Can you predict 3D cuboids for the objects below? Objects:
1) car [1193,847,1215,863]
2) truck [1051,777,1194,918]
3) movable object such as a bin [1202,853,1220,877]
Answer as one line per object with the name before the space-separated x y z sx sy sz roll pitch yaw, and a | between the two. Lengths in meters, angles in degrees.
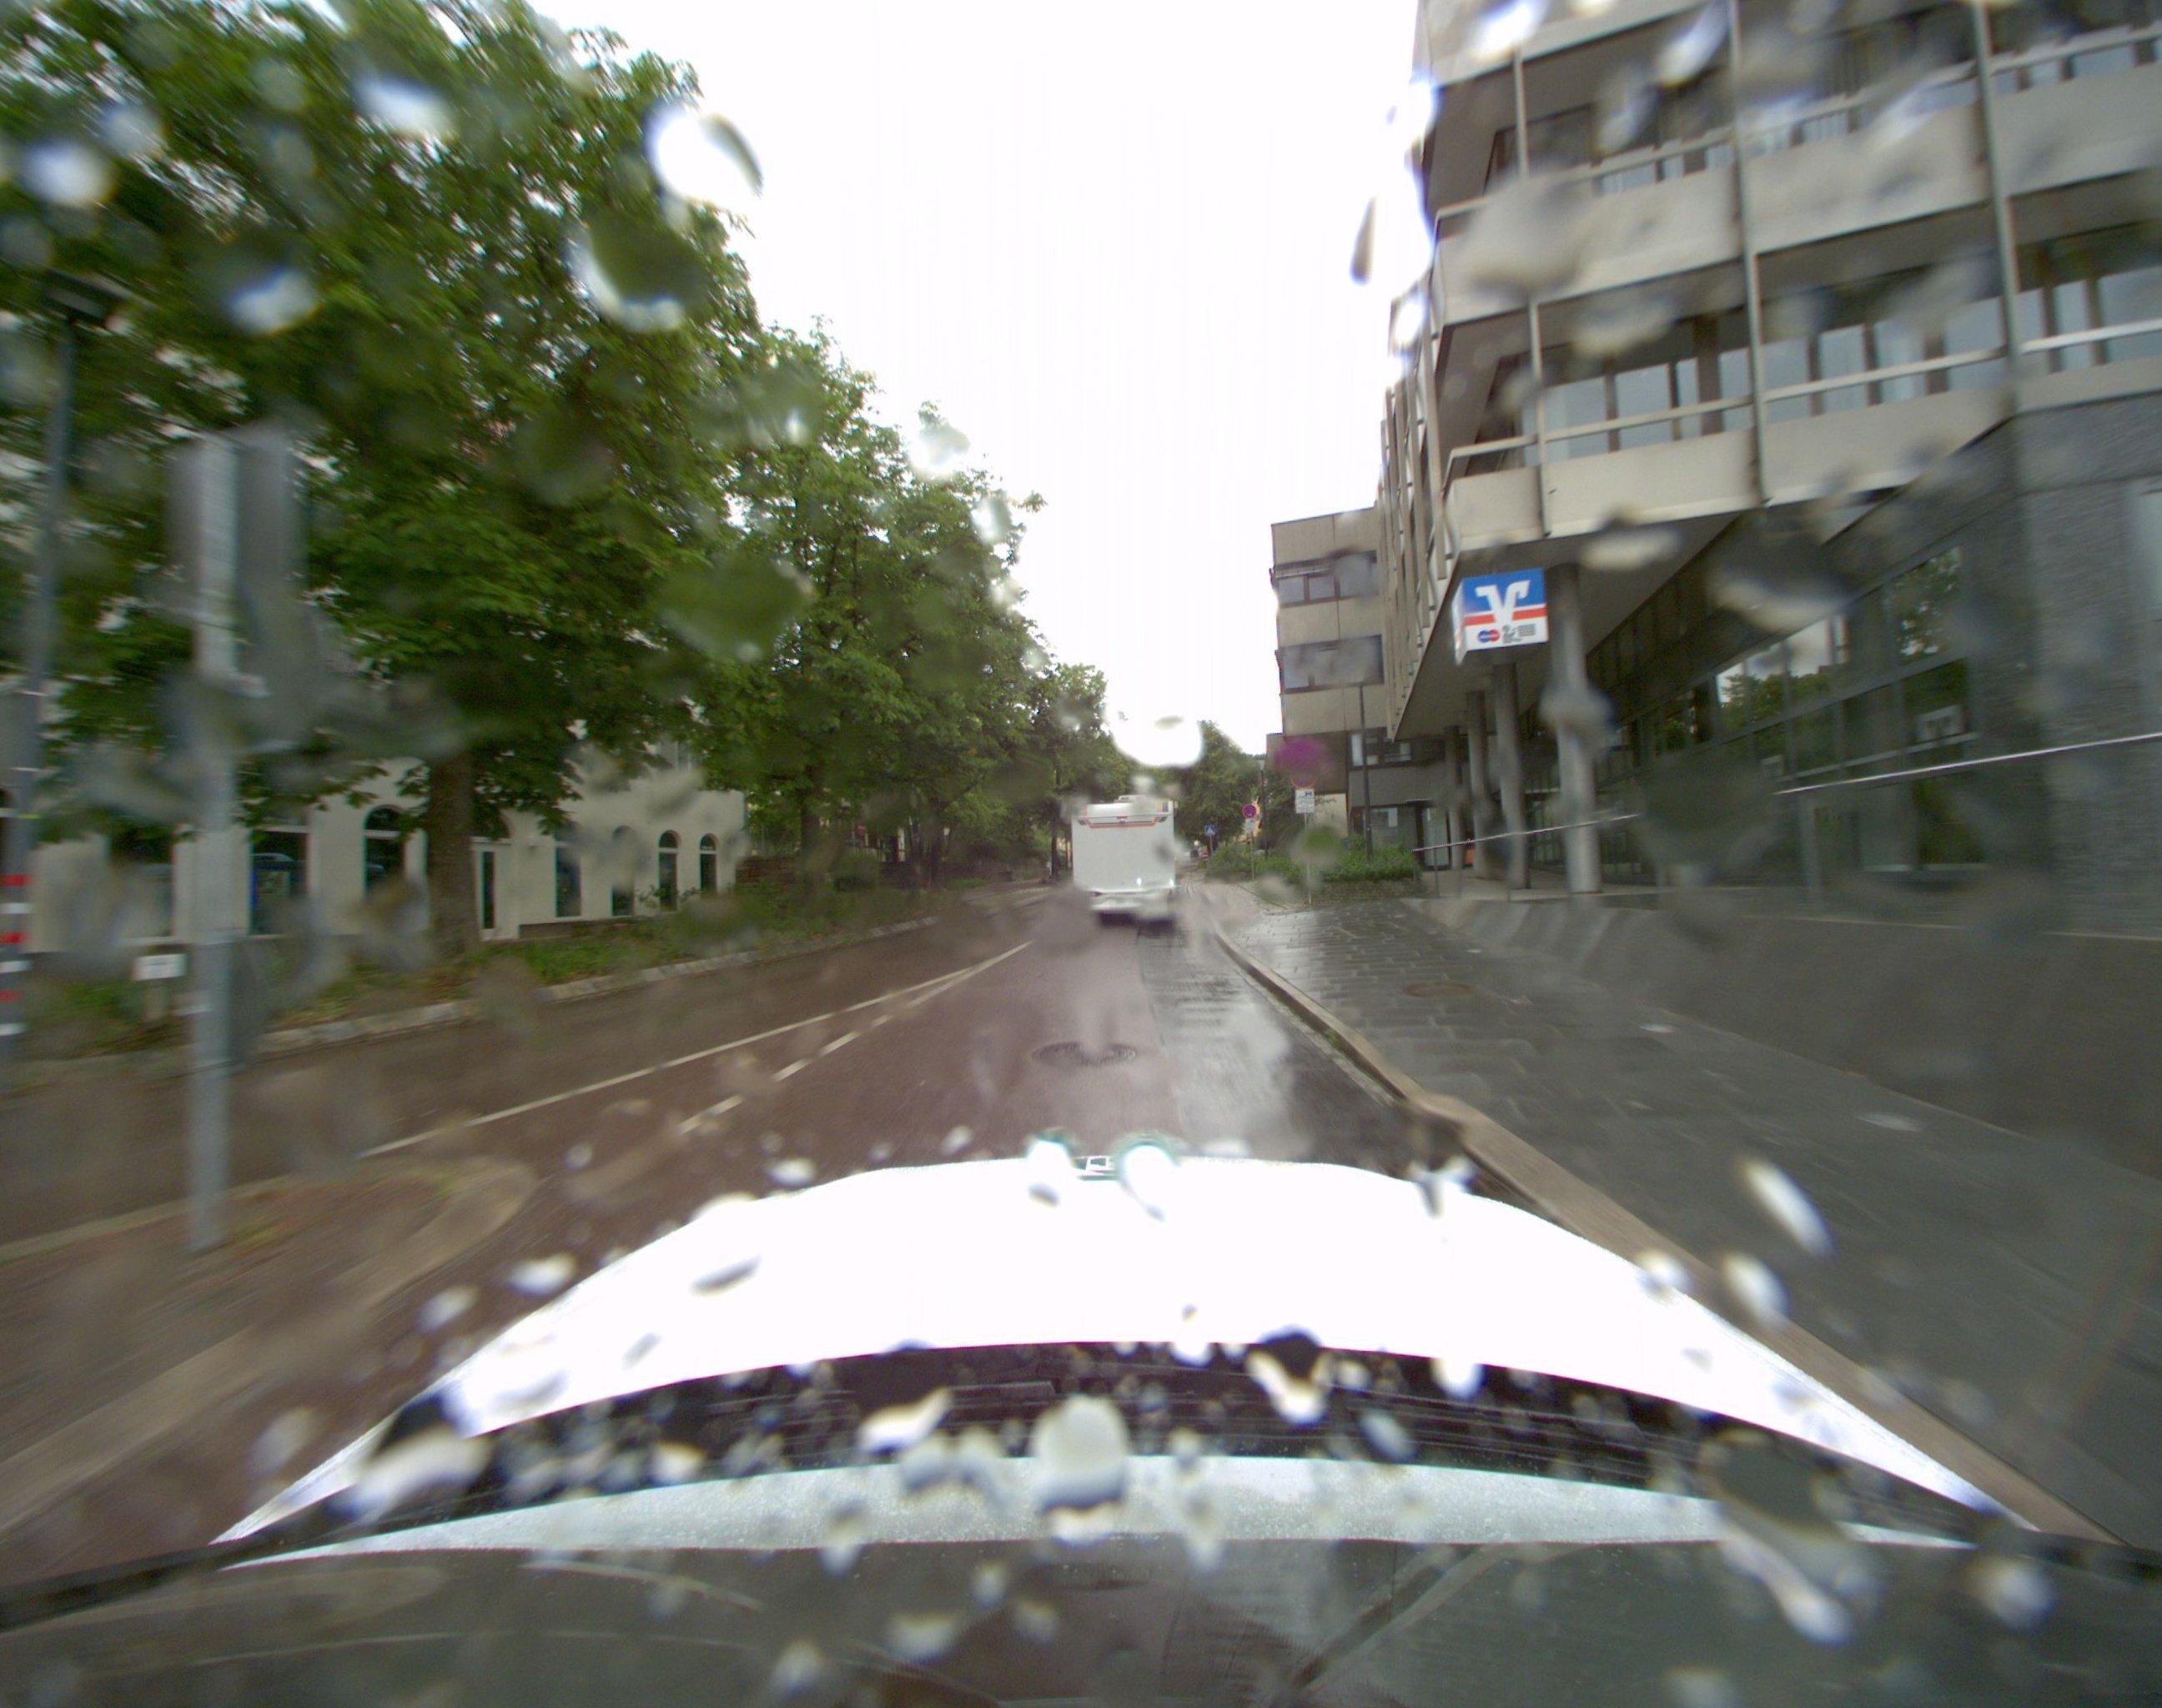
car | 11.929 0.074 79.025 1.843 1.472 4.379 -2 0 11
truck | 1.283 -0.076 20.160 2.790 2.797 6.120 -4 -2 8
movable object such as a bin | 6.566 0.550 41.134 0.697 1.124 0.574 -4 -2 24
